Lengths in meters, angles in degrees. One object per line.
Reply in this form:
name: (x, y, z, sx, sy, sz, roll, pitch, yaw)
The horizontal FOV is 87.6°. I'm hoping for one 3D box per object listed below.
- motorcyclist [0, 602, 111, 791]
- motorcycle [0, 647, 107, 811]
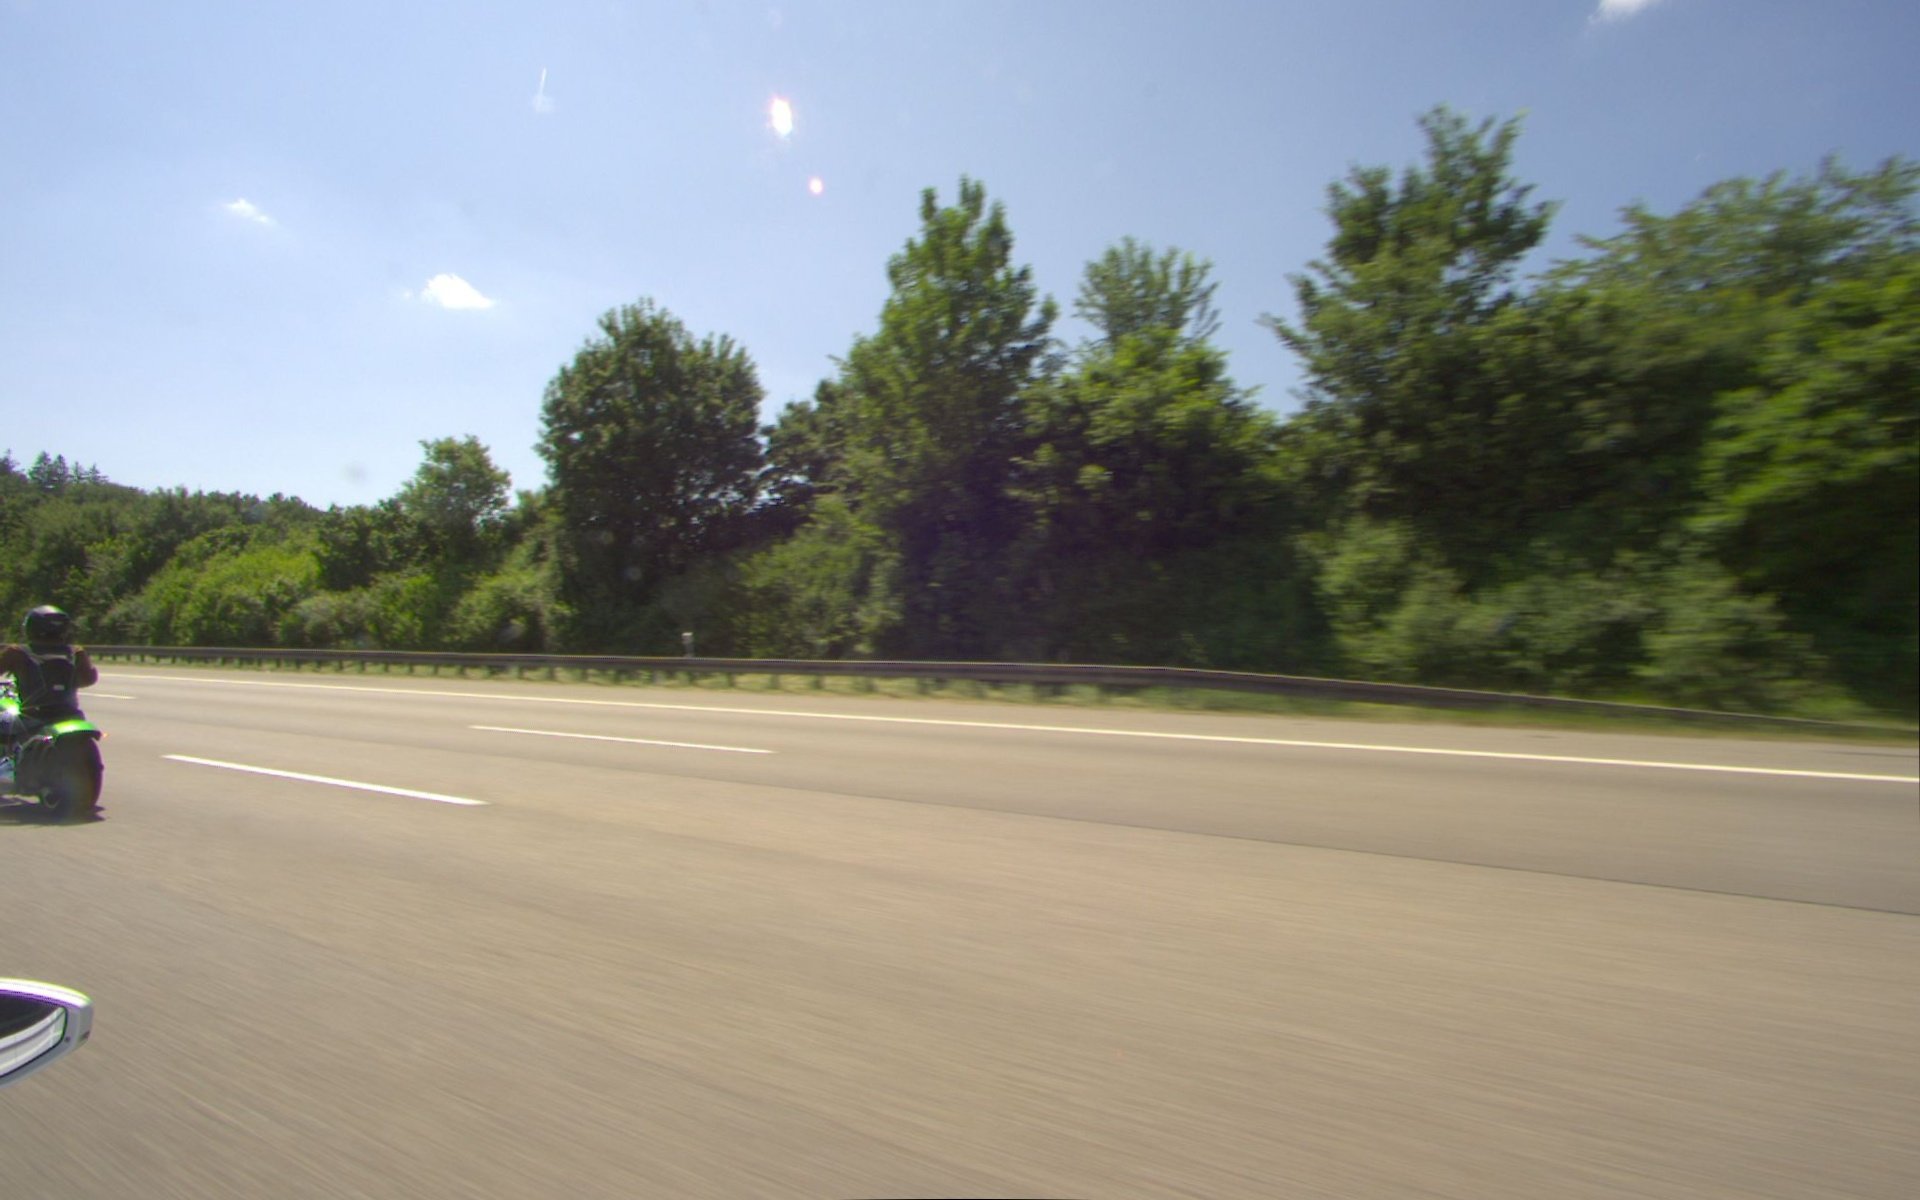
motorcyclist: (-7.628, 0.748, 8.167, 1.009, 1.446, 0.850, 0, 0, 35)
motorcycle: (-7.840, 0.999, 8.346, 2.404, 1.150, 0.534, 0, 0, 35)
